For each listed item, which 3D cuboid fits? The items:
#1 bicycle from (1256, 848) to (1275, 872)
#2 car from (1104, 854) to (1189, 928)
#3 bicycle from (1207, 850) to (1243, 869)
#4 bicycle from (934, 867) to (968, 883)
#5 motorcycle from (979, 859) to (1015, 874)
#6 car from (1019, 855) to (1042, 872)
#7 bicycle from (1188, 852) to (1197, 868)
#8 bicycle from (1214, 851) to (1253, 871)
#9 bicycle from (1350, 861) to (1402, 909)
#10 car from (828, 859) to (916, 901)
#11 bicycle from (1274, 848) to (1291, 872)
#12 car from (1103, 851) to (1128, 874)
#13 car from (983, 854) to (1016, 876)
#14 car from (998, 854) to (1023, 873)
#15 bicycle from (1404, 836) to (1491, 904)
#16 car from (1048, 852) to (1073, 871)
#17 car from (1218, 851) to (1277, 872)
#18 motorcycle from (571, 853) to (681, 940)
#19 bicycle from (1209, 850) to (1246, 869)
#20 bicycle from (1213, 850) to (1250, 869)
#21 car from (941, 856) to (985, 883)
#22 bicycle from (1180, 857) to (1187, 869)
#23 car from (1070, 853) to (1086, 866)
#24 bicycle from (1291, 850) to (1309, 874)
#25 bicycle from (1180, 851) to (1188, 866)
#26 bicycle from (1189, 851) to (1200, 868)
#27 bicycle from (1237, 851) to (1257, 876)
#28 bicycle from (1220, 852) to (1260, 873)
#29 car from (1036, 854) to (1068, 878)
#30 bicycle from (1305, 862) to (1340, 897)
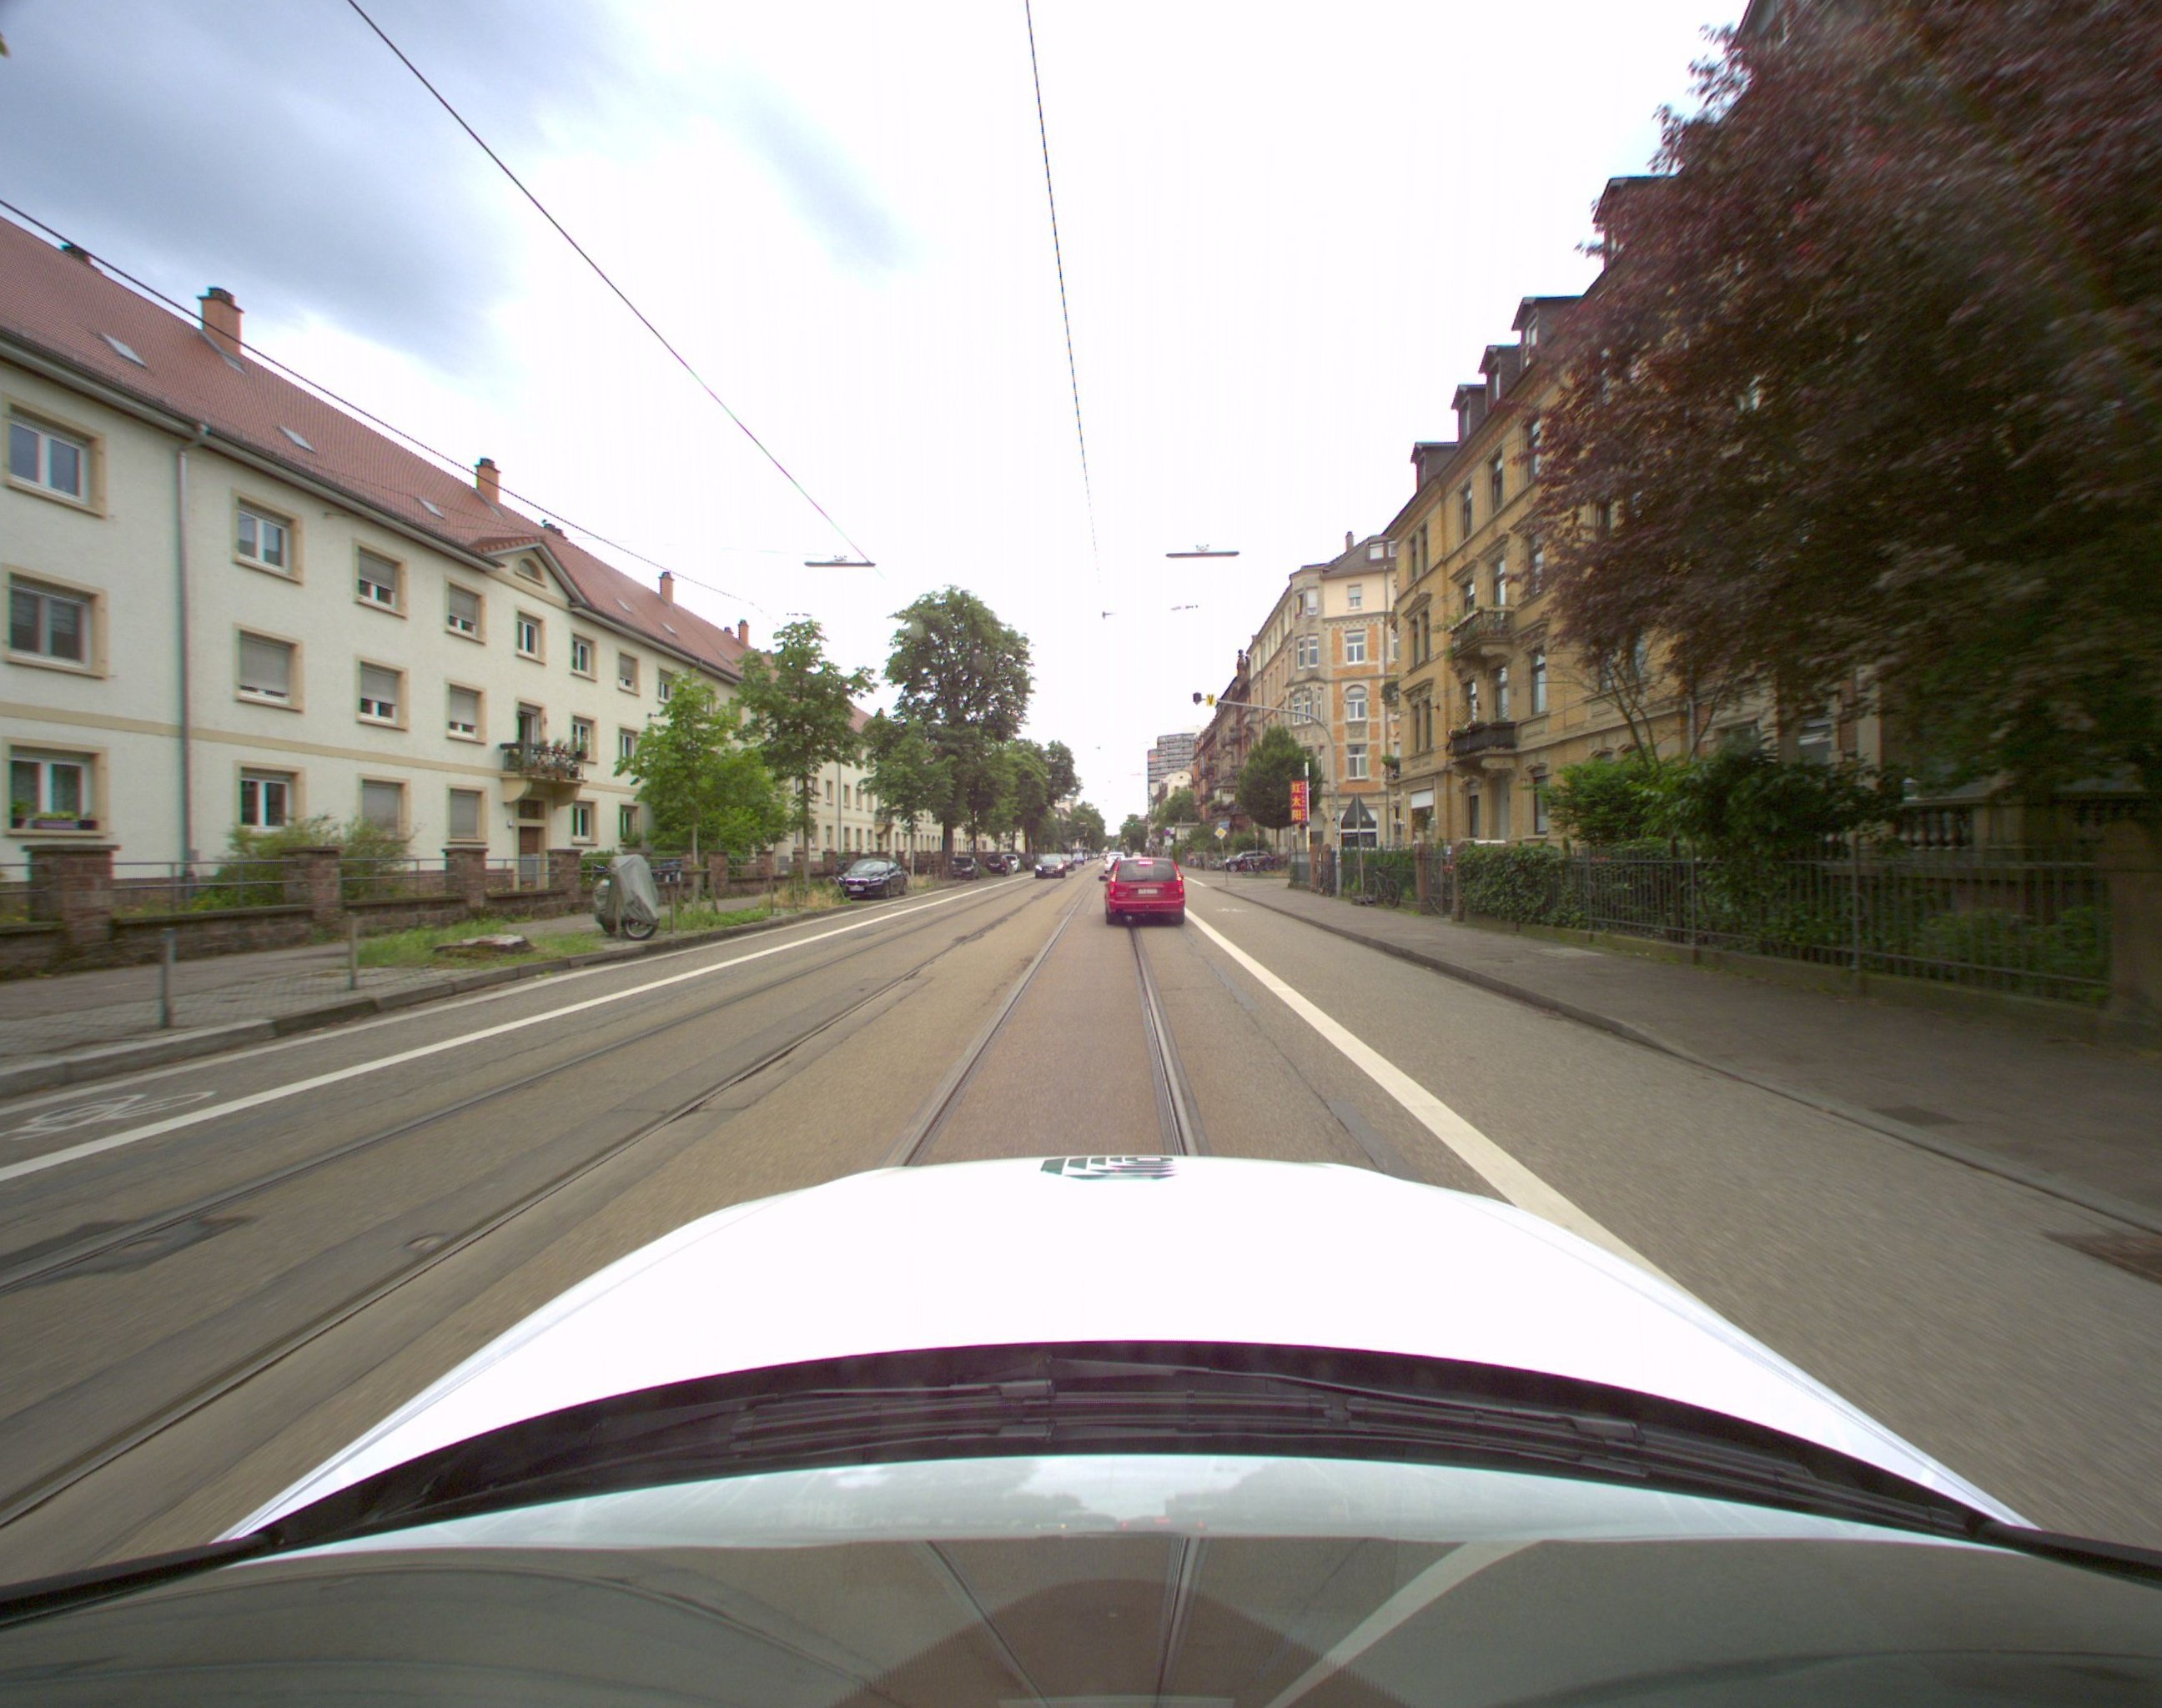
[{"bbox_3d":[11.930,0.361,52.558,0.909,1.507,2.392,0,0,19],"label":"bicycle"},{"bbox_3d":[1.383,0.750,18.244,1.682,1.441,3.745,-1,0,2],"label":"car"},{"bbox_3d":[12.545,0.440,71.128,2.966,1.624,1.049,0,0,0],"label":"bicycle"},{"bbox_3d":[-7.254,1.175,45.394,1.741,0.844,0.684,0,0,3],"label":"bicycle"},{"bbox_3d":[-6.837,1.010,66.231,2.865,1.077,1.098,-1,0,-5],"label":"motorcycle"},{"bbox_3d":[-4.657,0.859,76.127,1.713,1.486,4.003,-1,0,2],"label":"car"},{"bbox_3d":[9.757,0.518,71.247,0.549,1.400,1.735,-1,0,3],"label":"bicycle"},{"bbox_3d":[12.605,0.557,67.362,2.966,1.624,1.049,0,0,0],"label":"bicycle"},{"bbox_3d":[7.409,0.747,20.537,0.521,1.099,2.177,-3,0,2],"label":"bicycle"},{"bbox_3d":[-7.672,0.925,30.348,1.882,1.398,4.421,0,0,3],"label":"car"},{"bbox_3d":[12.951,0.355,52.315,0.783,1.507,2.392,0,0,19],"label":"bicycle"},{"bbox_3d":[2.525,0.592,58.979,1.711,1.624,3.945,0,0,4],"label":"car"},{"bbox_3d":[-5.993,0.790,60.161,1.844,1.563,3.945,0,0,2],"label":"car"},{"bbox_3d":[-6.167,0.808,71.533,1.706,1.580,4.003,1,0,2],"label":"car"},{"bbox_3d":[9.281,0.370,20.806,0.987,1.603,2.965,0,0,2],"label":"bicycle"},{"bbox_3d":[-1.721,0.609,70.666,1.886,1.611,4.502,0,0,2],"label":"car"},{"bbox_3d":[11.661,0.514,57.082,3.960,1.361,1.899,-1,0,12],"label":"car"},{"bbox_3d":[-8.487,0.753,15.156,2.243,1.511,0.932,-1,-2,37],"label":"motorcycle"},{"bbox_3d":[12.598,0.442,69.948,2.966,1.624,1.049,0,0,0],"label":"bicycle"},{"bbox_3d":[12.692,0.444,68.799,2.966,1.624,1.049,0,0,0],"label":"bicycle"},{"bbox_3d":[-6.735,0.850,46.980,1.710,1.482,4.004,0,0,4],"label":"car"},{"bbox_3d":[9.691,0.812,76.943,0.488,1.099,1.735,-1,0,3],"label":"bicycle"},{"bbox_3d":[-0.348,0.729,108.711,1.886,1.611,4.503,0,0,2],"label":"car"},{"bbox_3d":[13.921,0.502,51.671,0.909,1.507,2.392,0,0,19],"label":"bicycle"},{"bbox_3d":[10.221,0.461,80.709,0.553,1.458,2.988,0,0,4],"label":"bicycle"},{"bbox_3d":[9.447,0.448,67.651,0.705,1.300,1.905,-1,0,3],"label":"bicycle"},{"bbox_3d":[10.489,0.587,51.511,0.909,1.507,2.392,0,0,19],"label":"bicycle"},{"bbox_3d":[12.550,0.637,64.379,2.966,1.624,1.049,0,0,0],"label":"bicycle"},{"bbox_3d":[-1.763,0.733,50.572,1.749,1.380,4.028,-1,0,1],"label":"car"},{"bbox_3d":[7.499,0.765,25.378,0.521,1.030,2.177,-1,0,2],"label":"bicycle"}]
